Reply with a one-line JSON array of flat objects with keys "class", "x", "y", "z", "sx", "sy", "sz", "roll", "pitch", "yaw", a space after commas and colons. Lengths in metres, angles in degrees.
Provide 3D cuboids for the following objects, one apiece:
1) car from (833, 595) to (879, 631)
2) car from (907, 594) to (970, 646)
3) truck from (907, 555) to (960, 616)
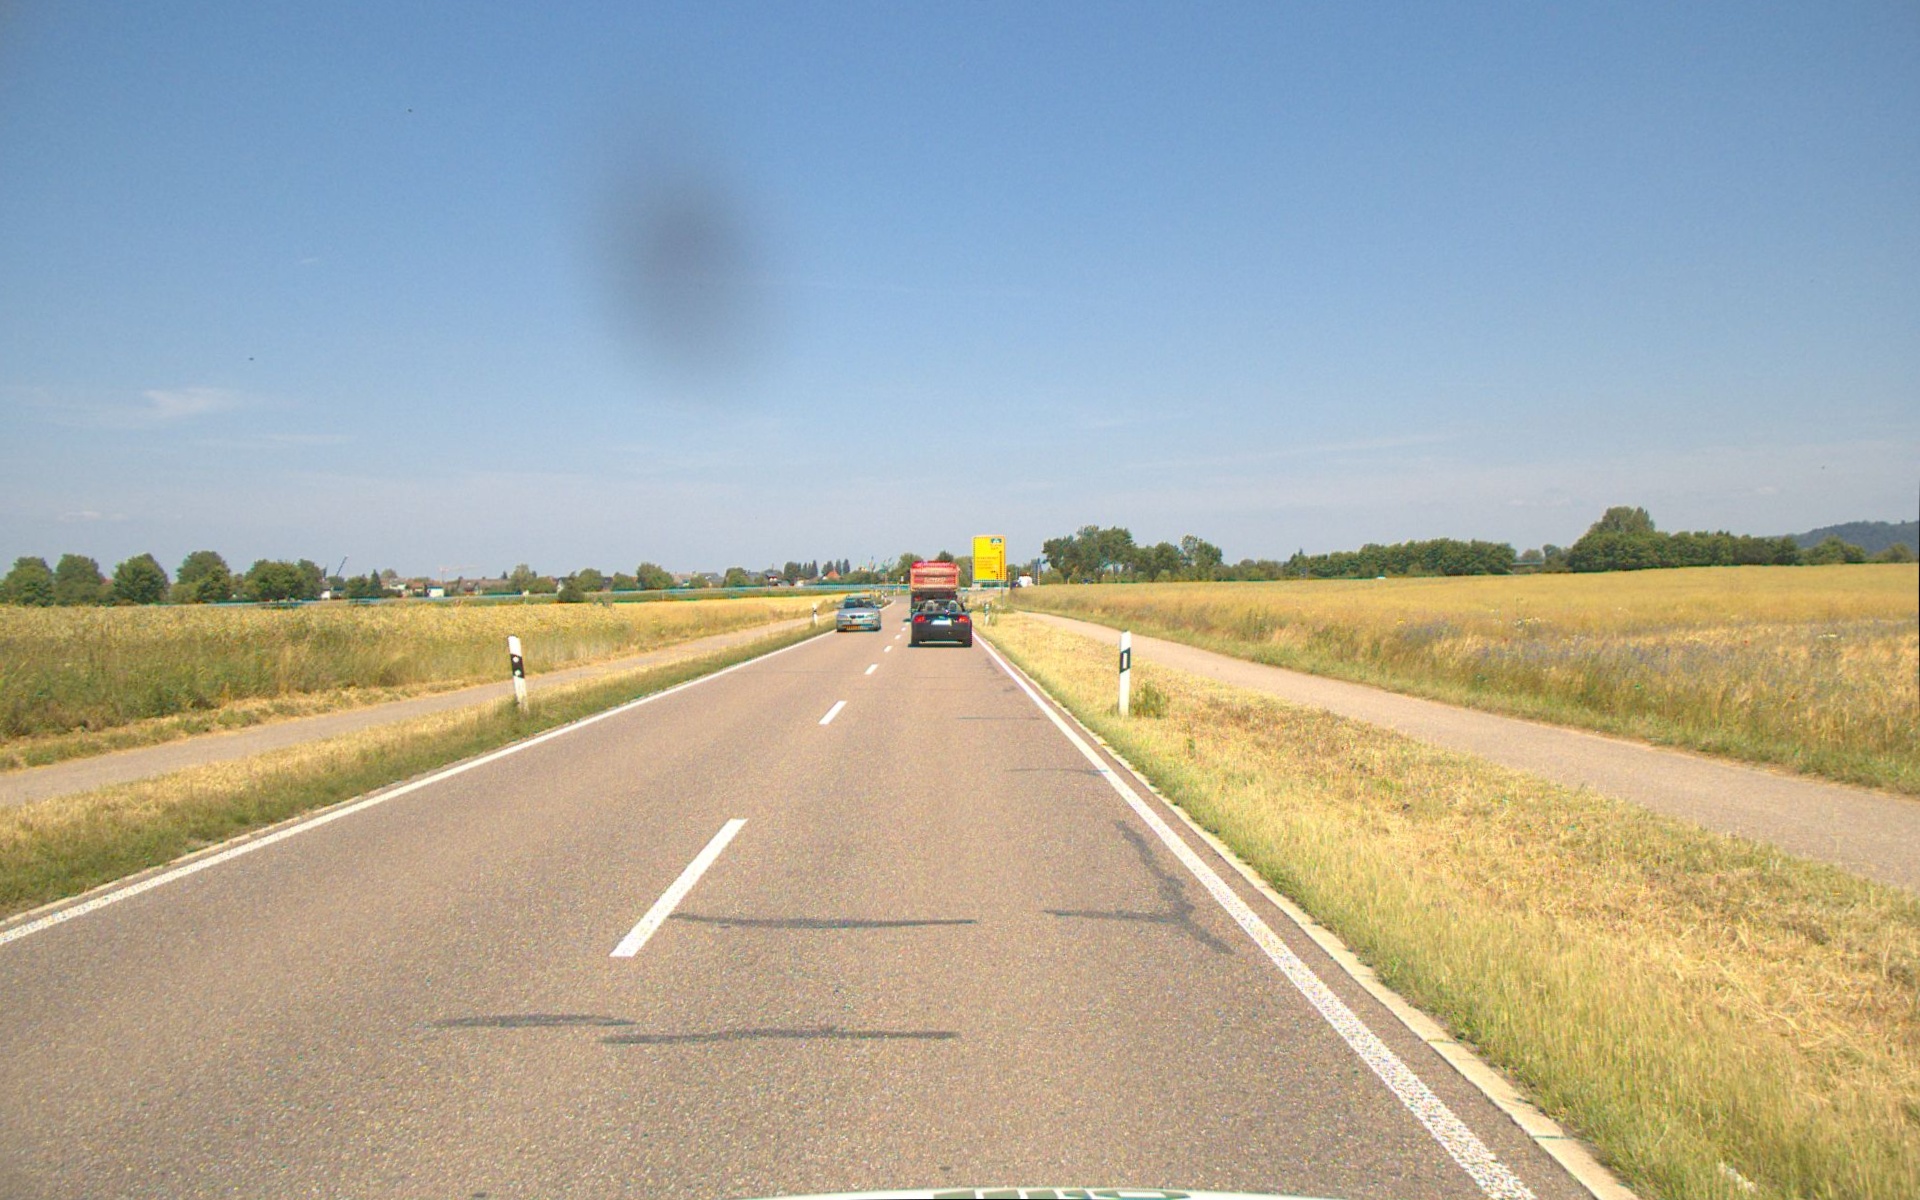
[{"class": "car", "x": -4.212, "y": 0.515, "z": 67.434, "sx": 1.712, "sy": 1.425, "sz": 4.031, "roll": 0, "pitch": 0, "yaw": -1}, {"class": "car", "x": -0.615, "y": 0.556, "z": 47.011, "sx": 1.712, "sy": 1.400, "sz": 3.678, "roll": 1, "pitch": 0, "yaw": -1}, {"class": "truck", "x": -1.427, "y": -0.732, "z": 88.137, "sx": 2.659, "sy": 3.106, "sz": 8.162, "roll": 0, "pitch": 0, "yaw": -1}]
